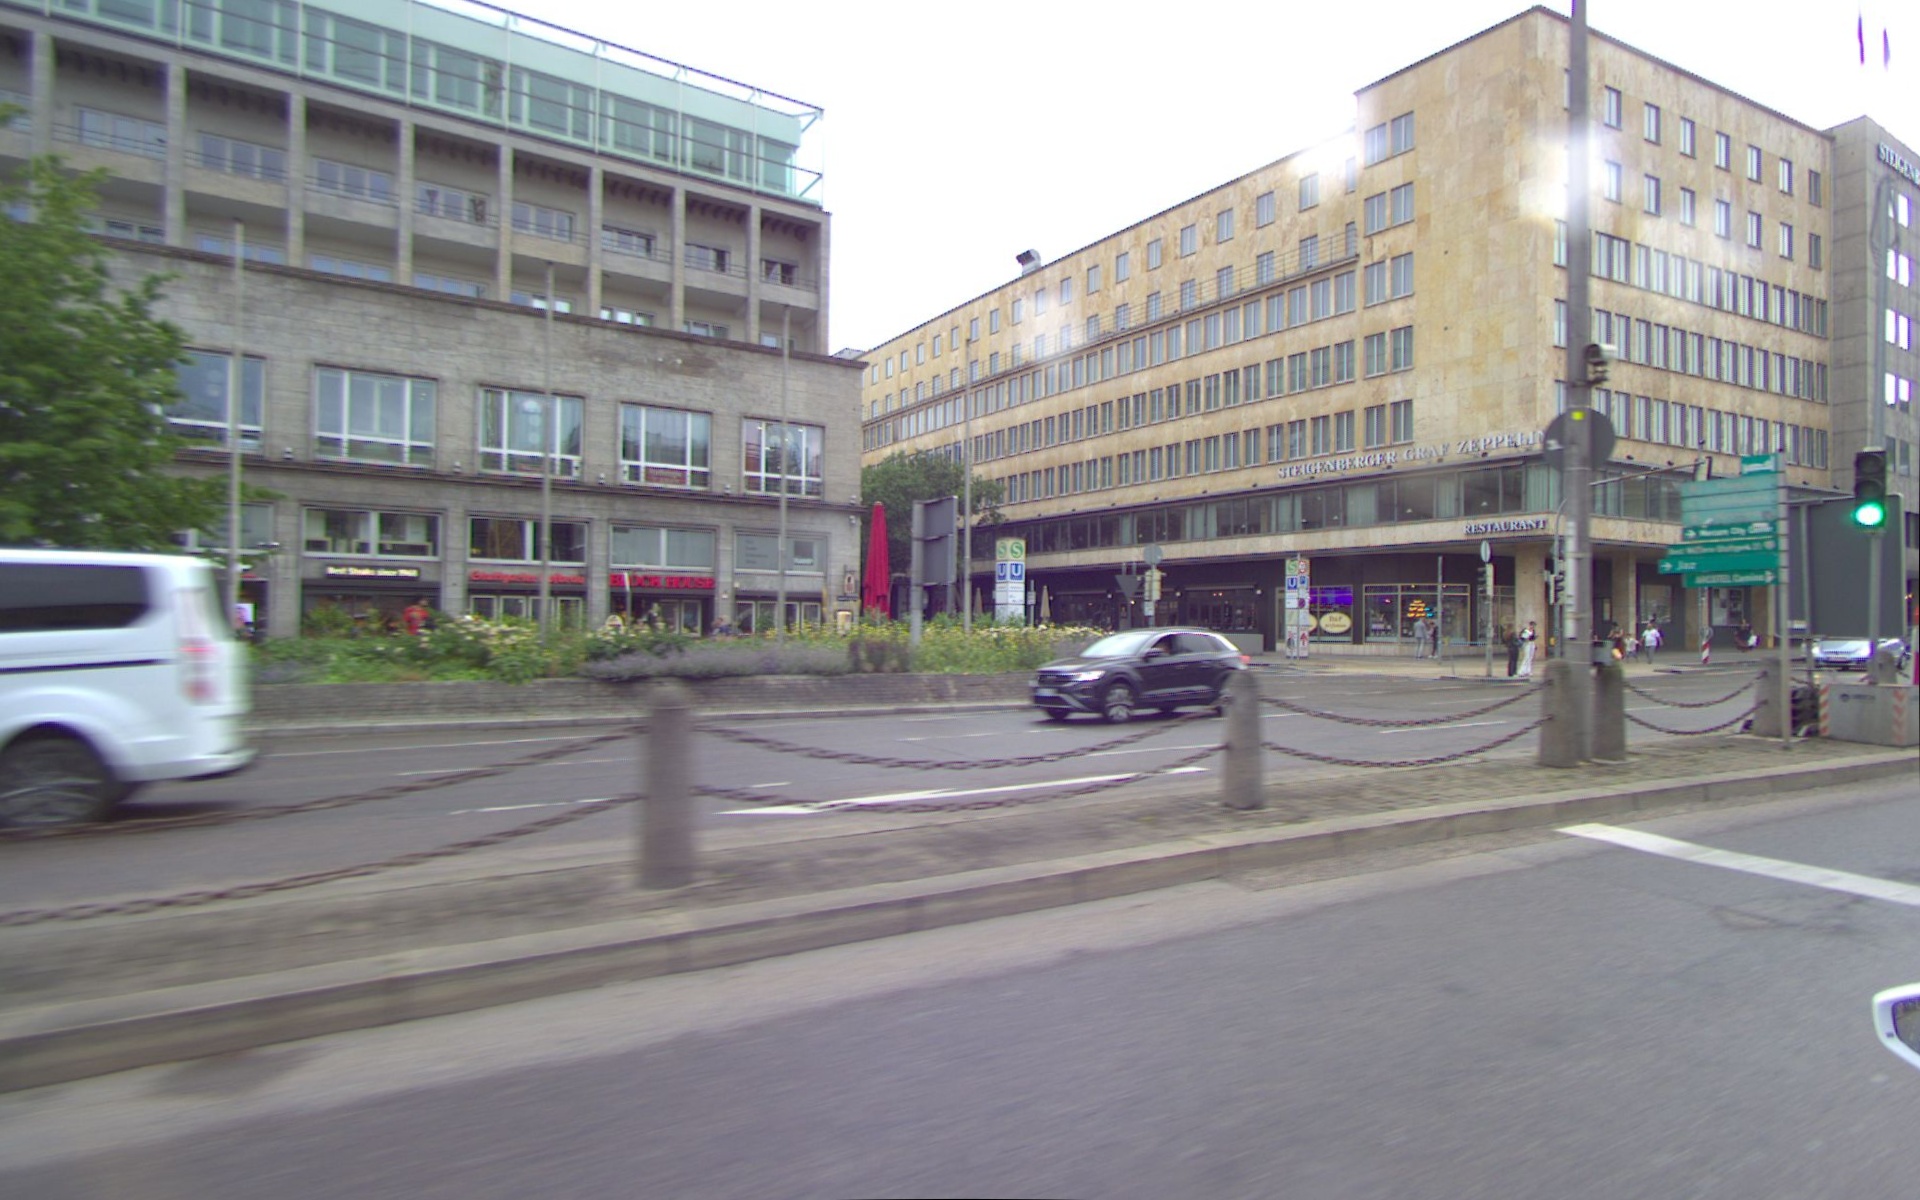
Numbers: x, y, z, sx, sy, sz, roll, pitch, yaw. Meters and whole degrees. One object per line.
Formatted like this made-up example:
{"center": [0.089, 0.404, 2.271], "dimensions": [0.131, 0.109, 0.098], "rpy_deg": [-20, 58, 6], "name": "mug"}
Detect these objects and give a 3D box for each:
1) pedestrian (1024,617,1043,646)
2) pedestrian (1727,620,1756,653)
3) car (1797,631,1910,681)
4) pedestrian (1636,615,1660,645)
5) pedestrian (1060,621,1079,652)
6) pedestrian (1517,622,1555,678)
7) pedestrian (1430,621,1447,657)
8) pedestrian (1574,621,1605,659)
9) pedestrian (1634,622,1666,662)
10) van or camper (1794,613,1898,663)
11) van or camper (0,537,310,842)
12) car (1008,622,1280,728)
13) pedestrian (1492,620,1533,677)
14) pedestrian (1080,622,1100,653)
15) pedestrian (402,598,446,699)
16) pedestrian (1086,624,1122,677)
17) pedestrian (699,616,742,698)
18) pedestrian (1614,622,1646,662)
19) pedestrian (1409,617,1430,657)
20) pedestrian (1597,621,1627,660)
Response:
{"center": [4.445, 1.905, 60.723], "dimensions": [0.828, 1.694, 0.873], "rpy_deg": [1, -2, -26], "name": "pedestrian"}
{"center": [37.222, 1.732, 47.830], "dimensions": [0.905, 1.546, 0.791], "rpy_deg": [1, -2, -28], "name": "pedestrian"}
{"center": [31.265, 1.927, 35.116], "dimensions": [4.177, 1.630, 1.760], "rpy_deg": [1, -2, -31], "name": "car"}
{"center": [35.752, 1.536, 52.174], "dimensions": [0.707, 1.546, 0.791], "rpy_deg": [1, -2, -28], "name": "pedestrian"}
{"center": [6.177, 2.064, 56.760], "dimensions": [0.826, 1.694, 0.698], "rpy_deg": [1, -2, -29], "name": "pedestrian"}
{"center": [17.733, 1.521, 30.939], "dimensions": [0.686, 1.694, 0.758], "rpy_deg": [1, -1, -17], "name": "pedestrian"}
{"center": [22.007, 1.793, 46.231], "dimensions": [0.637, 1.665, 0.697], "rpy_deg": [0, -1, 20], "name": "pedestrian"}
{"center": [26.574, 1.700, 42.384], "dimensions": [0.993, 1.578, 0.718], "rpy_deg": [1, -2, -29], "name": "pedestrian"}
{"center": [27.502, 1.680, 40.036], "dimensions": [0.884, 1.578, 0.718], "rpy_deg": [1, -2, -29], "name": "pedestrian"}
{"center": [38.062, 1.638, 43.130], "dimensions": [4.908, 2.040, 1.984], "rpy_deg": [1, -2, -31], "name": "van or camper"}
{"center": [-7.745, 0.593, 7.104], "dimensions": [5.128, 2.040, 1.984], "rpy_deg": [1, -1, -30], "name": "van or camper"}
{"center": [3.263, 1.224, 17.590], "dimensions": [4.522, 1.638, 1.984], "rpy_deg": [1, -2, -31], "name": "car"}
{"center": [16.856, 1.476, 30.656], "dimensions": [0.692, 1.694, 0.833], "rpy_deg": [1, -1, -17], "name": "pedestrian"}
{"center": [7.093, 2.032, 54.685], "dimensions": [0.826, 1.694, 0.698], "rpy_deg": [1, -2, -29], "name": "pedestrian"}
{"center": [-11.188, 1.000, 20.953], "dimensions": [0.784, 2.040, 0.664], "rpy_deg": [1, -2, -30], "name": "pedestrian"}
{"center": [4.624, 1.608, 32.305], "dimensions": [0.917, 1.694, 0.698], "rpy_deg": [1, -2, -29], "name": "pedestrian"}
{"center": [-5.237, 1.232, 21.965], "dimensions": [0.783, 1.757, 0.665], "rpy_deg": [1, -2, -25], "name": "pedestrian"}
{"center": [27.138, 1.690, 40.683], "dimensions": [0.894, 1.578, 0.718], "rpy_deg": [1, -2, -29], "name": "pedestrian"}
{"center": [21.157, 1.719, 46.241], "dimensions": [0.687, 1.827, 0.757], "rpy_deg": [-1, -2, 42], "name": "pedestrian"}
{"center": [27.007, 1.665, 41.629], "dimensions": [0.884, 1.578, 0.718], "rpy_deg": [1, -2, -29], "name": "pedestrian"}
